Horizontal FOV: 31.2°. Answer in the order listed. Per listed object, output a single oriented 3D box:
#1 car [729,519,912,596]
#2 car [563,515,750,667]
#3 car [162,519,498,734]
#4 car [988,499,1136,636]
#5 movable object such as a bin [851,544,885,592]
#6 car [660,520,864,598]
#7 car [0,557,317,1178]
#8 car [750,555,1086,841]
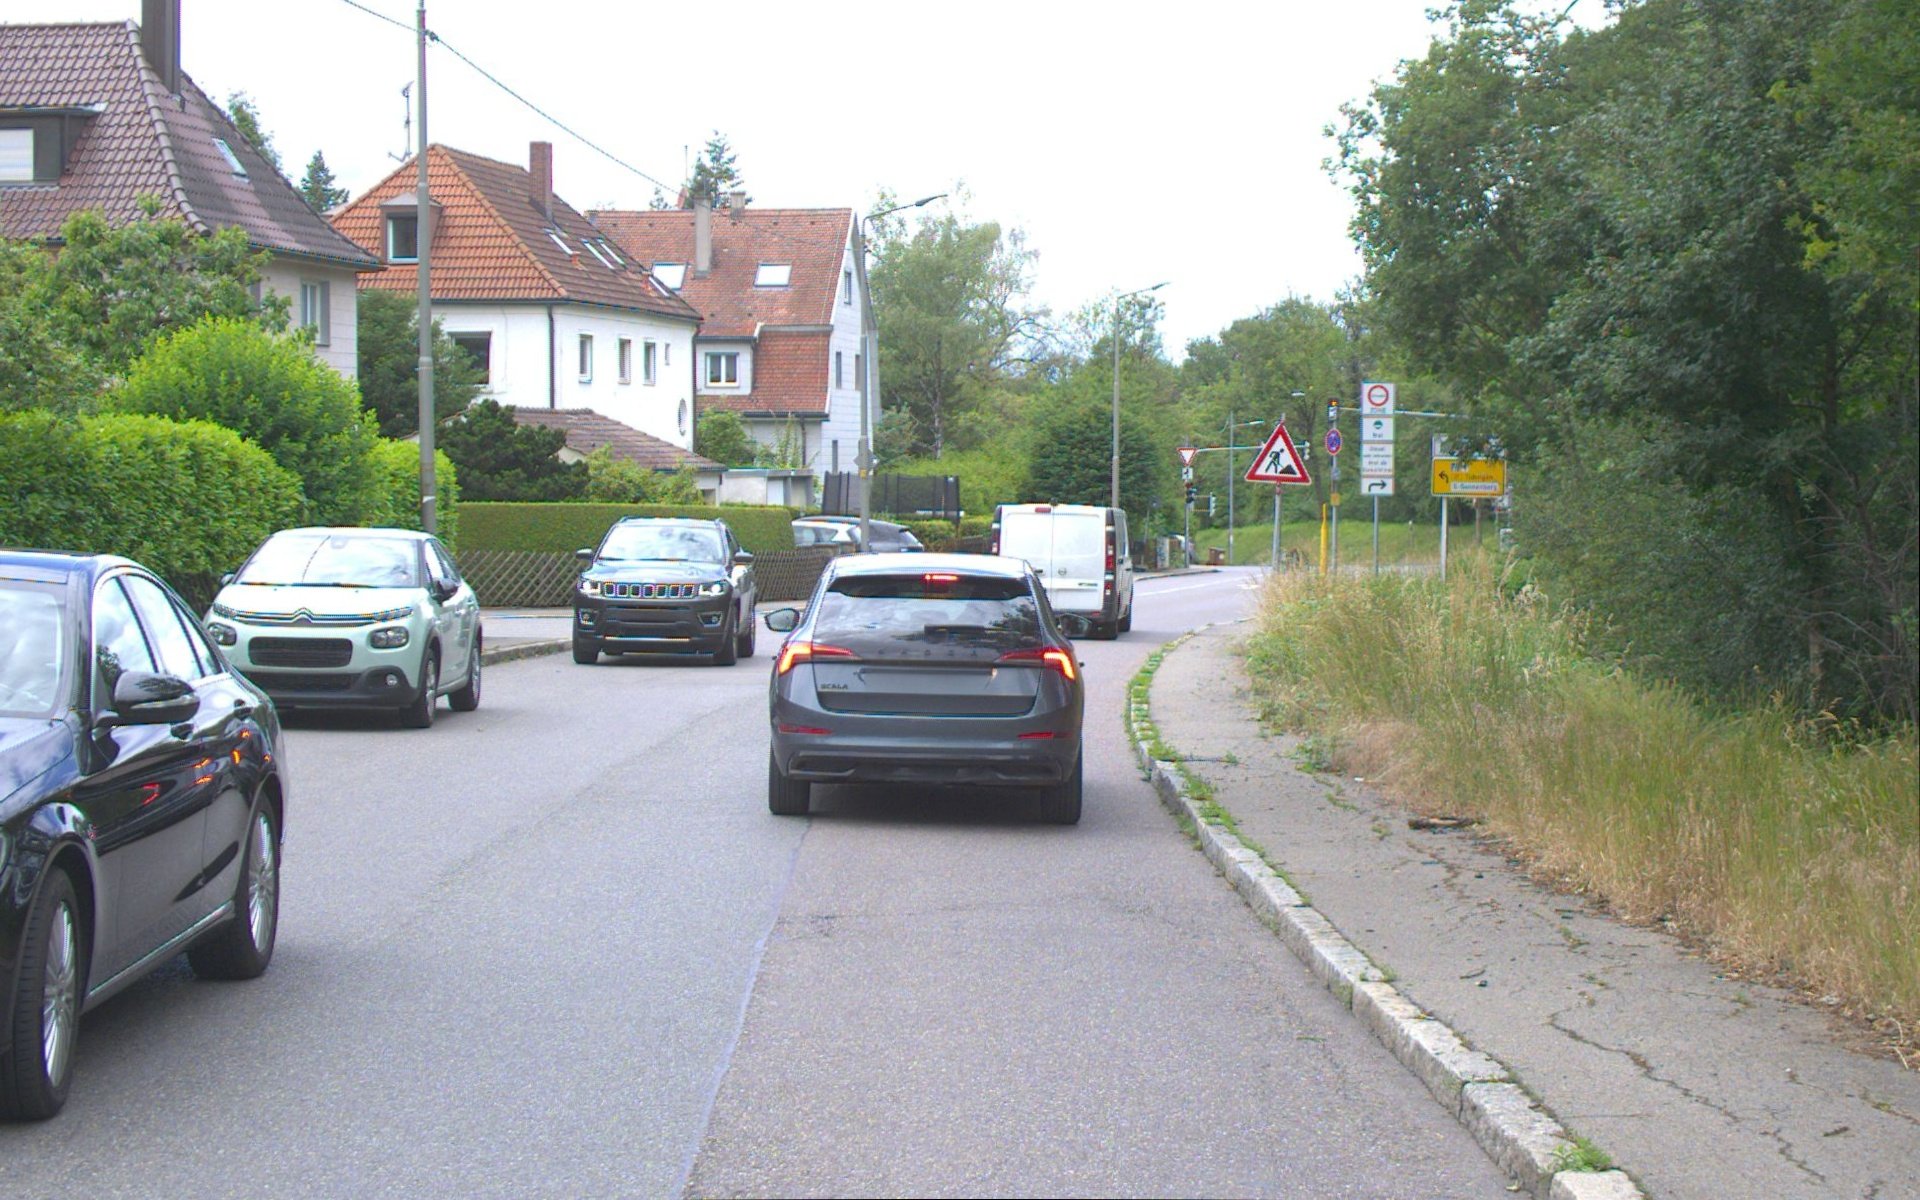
[{"bbox_3d":[-3.132,-0.975,77.846,3.987,1.700,1.916,0,1,2],"label":"car"},{"bbox_3d":[-3.421,-0.153,39.432,1.833,1.591,4.324,1,2,-1],"label":"car"},{"bbox_3d":[-4.780,0.161,26.607,1.783,1.495,4.015,1,1,1],"label":"car"},{"bbox_3d":[1.584,-0.498,51.551,2.072,1.915,4.922,1,1,3],"label":"car"},{"bbox_3d":[-1.855,-0.649,69.194,0.599,0.947,0.579,1,1,6],"label":"movable object such as a bin"},{"bbox_3d":[-4.174,-0.879,72.877,3.988,1.612,1.999,1,1,8],"label":"car"},{"bbox_3d":[-3.216,0.591,10.138,1.863,1.409,4.592,1,1,-2],"label":"car"},{"bbox_3d":[-0.274,0.485,20.119,1.728,1.434,4.324,1,1,-1],"label":"car"}]
